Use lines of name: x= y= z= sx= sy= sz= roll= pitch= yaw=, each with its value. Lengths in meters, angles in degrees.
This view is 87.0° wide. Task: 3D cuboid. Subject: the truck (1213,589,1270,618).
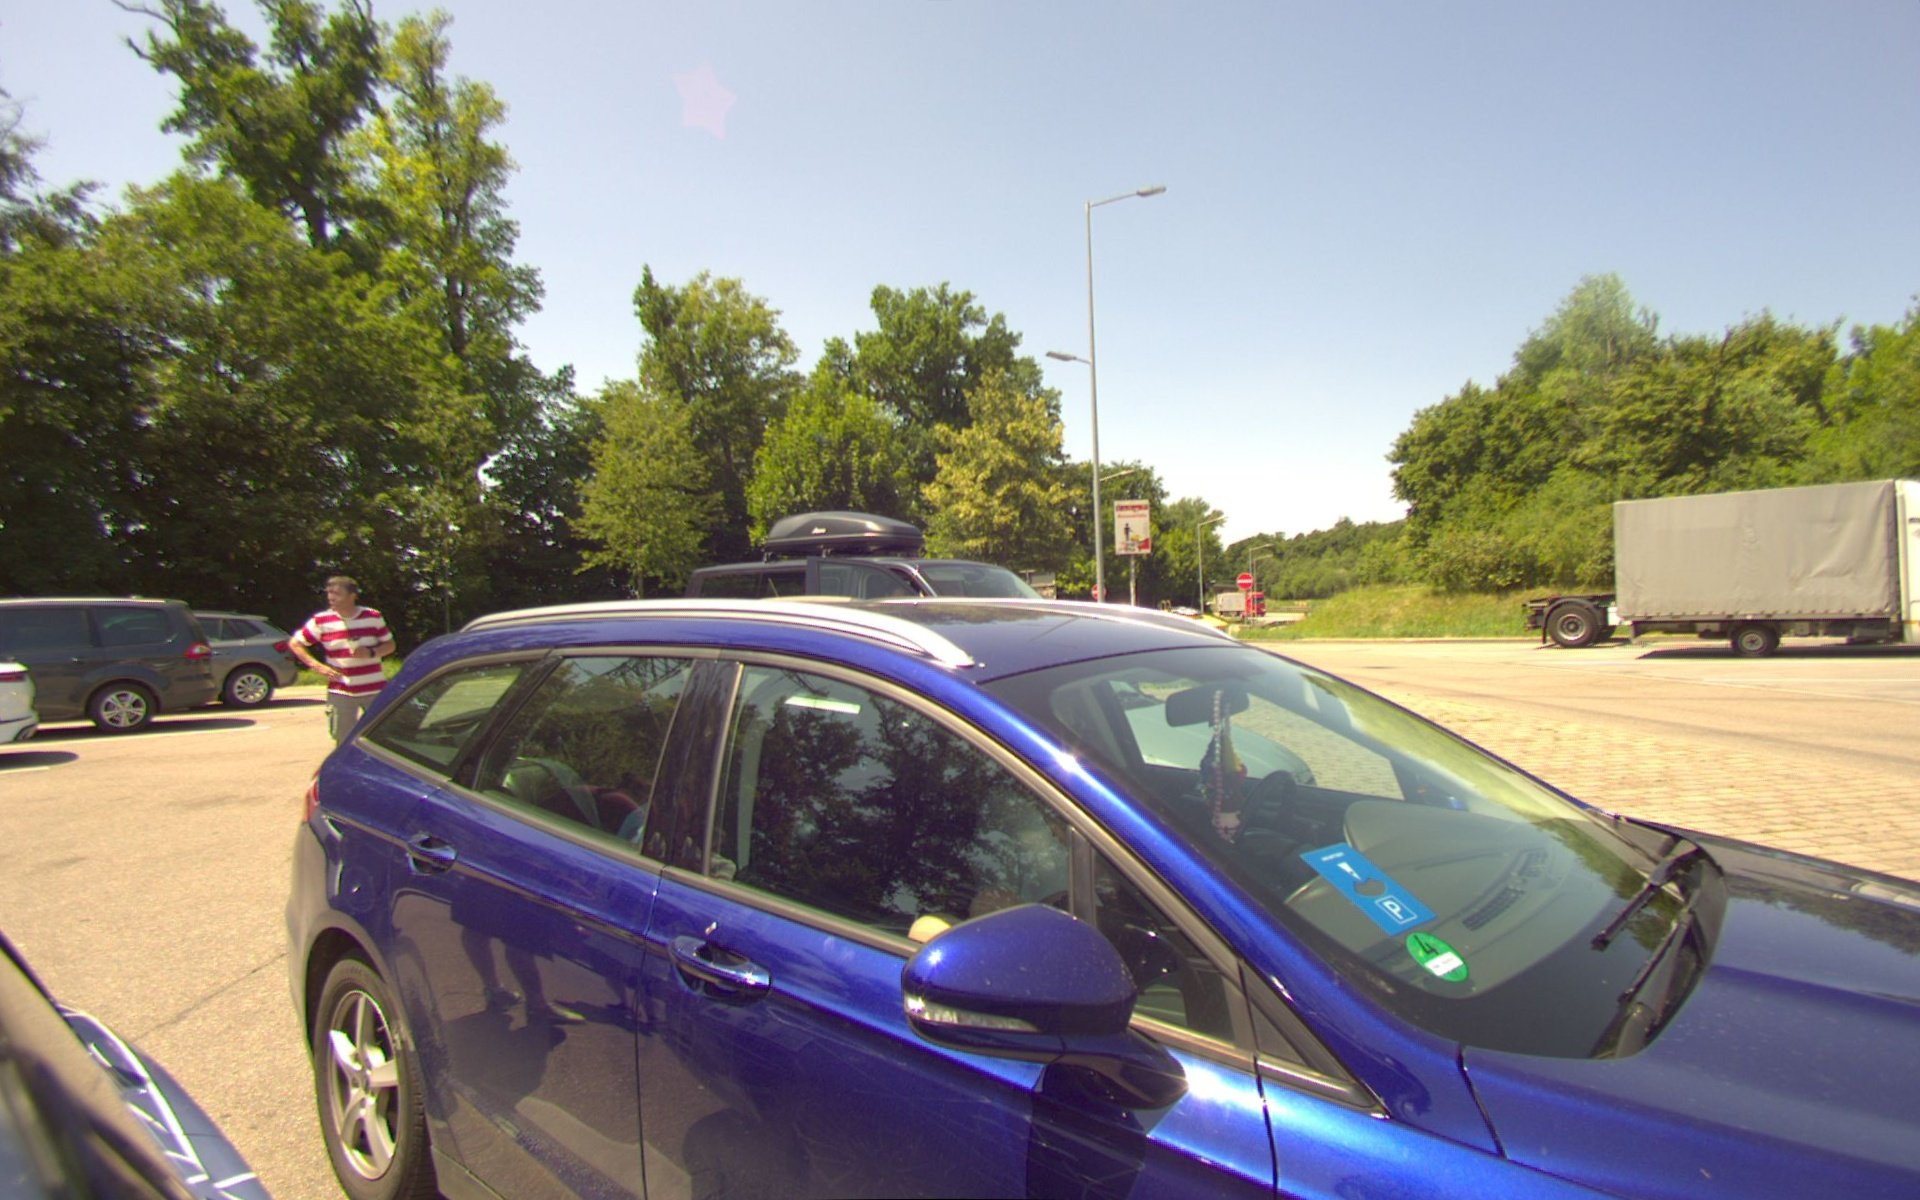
truck: x=47.412 y=0.604 z=171.213 sx=2.713 sy=4.589 sz=14.102 roll=-1 pitch=0 yaw=-13

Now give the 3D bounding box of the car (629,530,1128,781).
car: x=-0.892 y=0.497 z=9.662 sx=4.558 sy=1.912 sz=1.740 roll=-3 pitch=0 yaw=32

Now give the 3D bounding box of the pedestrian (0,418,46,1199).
pedestrian: x=-2.728 y=0.521 z=2.246 sx=0.905 sy=1.919 sz=0.816 roll=-1 pitch=0 yaw=-33

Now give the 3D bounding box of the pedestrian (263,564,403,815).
pedestrian: x=-4.695 y=0.630 z=7.633 sx=0.742 sy=1.767 sz=0.788 roll=-1 pitch=0 yaw=-20

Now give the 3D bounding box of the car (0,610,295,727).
car: x=-12.622 y=0.970 z=15.668 sx=3.767 sy=1.572 sz=1.654 roll=-1 pitch=0 yaw=-38

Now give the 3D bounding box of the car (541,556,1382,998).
car: x=-0.322 y=0.669 z=5.614 sx=4.569 sy=1.517 sz=1.735 roll=-3 pitch=0 yaw=40

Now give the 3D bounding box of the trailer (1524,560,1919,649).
trailer: x=17.707 y=0.150 z=23.111 sx=8.098 sy=1.638 sz=2.187 roll=-4 pitch=-1 yaw=41

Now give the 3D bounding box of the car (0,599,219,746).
car: x=-11.631 y=0.866 z=12.661 sx=3.767 sy=1.708 sz=1.654 roll=-1 pitch=0 yaw=-38

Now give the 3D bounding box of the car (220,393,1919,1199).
car: x=0.233 y=0.634 z=2.077 sx=4.569 sy=1.482 sz=1.735 roll=-3 pitch=0 yaw=40

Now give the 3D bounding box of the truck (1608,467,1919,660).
truck: x=16.782 y=-0.654 z=19.013 sx=7.274 sy=3.269 sz=2.678 roll=-4 pitch=-1 yaw=42
